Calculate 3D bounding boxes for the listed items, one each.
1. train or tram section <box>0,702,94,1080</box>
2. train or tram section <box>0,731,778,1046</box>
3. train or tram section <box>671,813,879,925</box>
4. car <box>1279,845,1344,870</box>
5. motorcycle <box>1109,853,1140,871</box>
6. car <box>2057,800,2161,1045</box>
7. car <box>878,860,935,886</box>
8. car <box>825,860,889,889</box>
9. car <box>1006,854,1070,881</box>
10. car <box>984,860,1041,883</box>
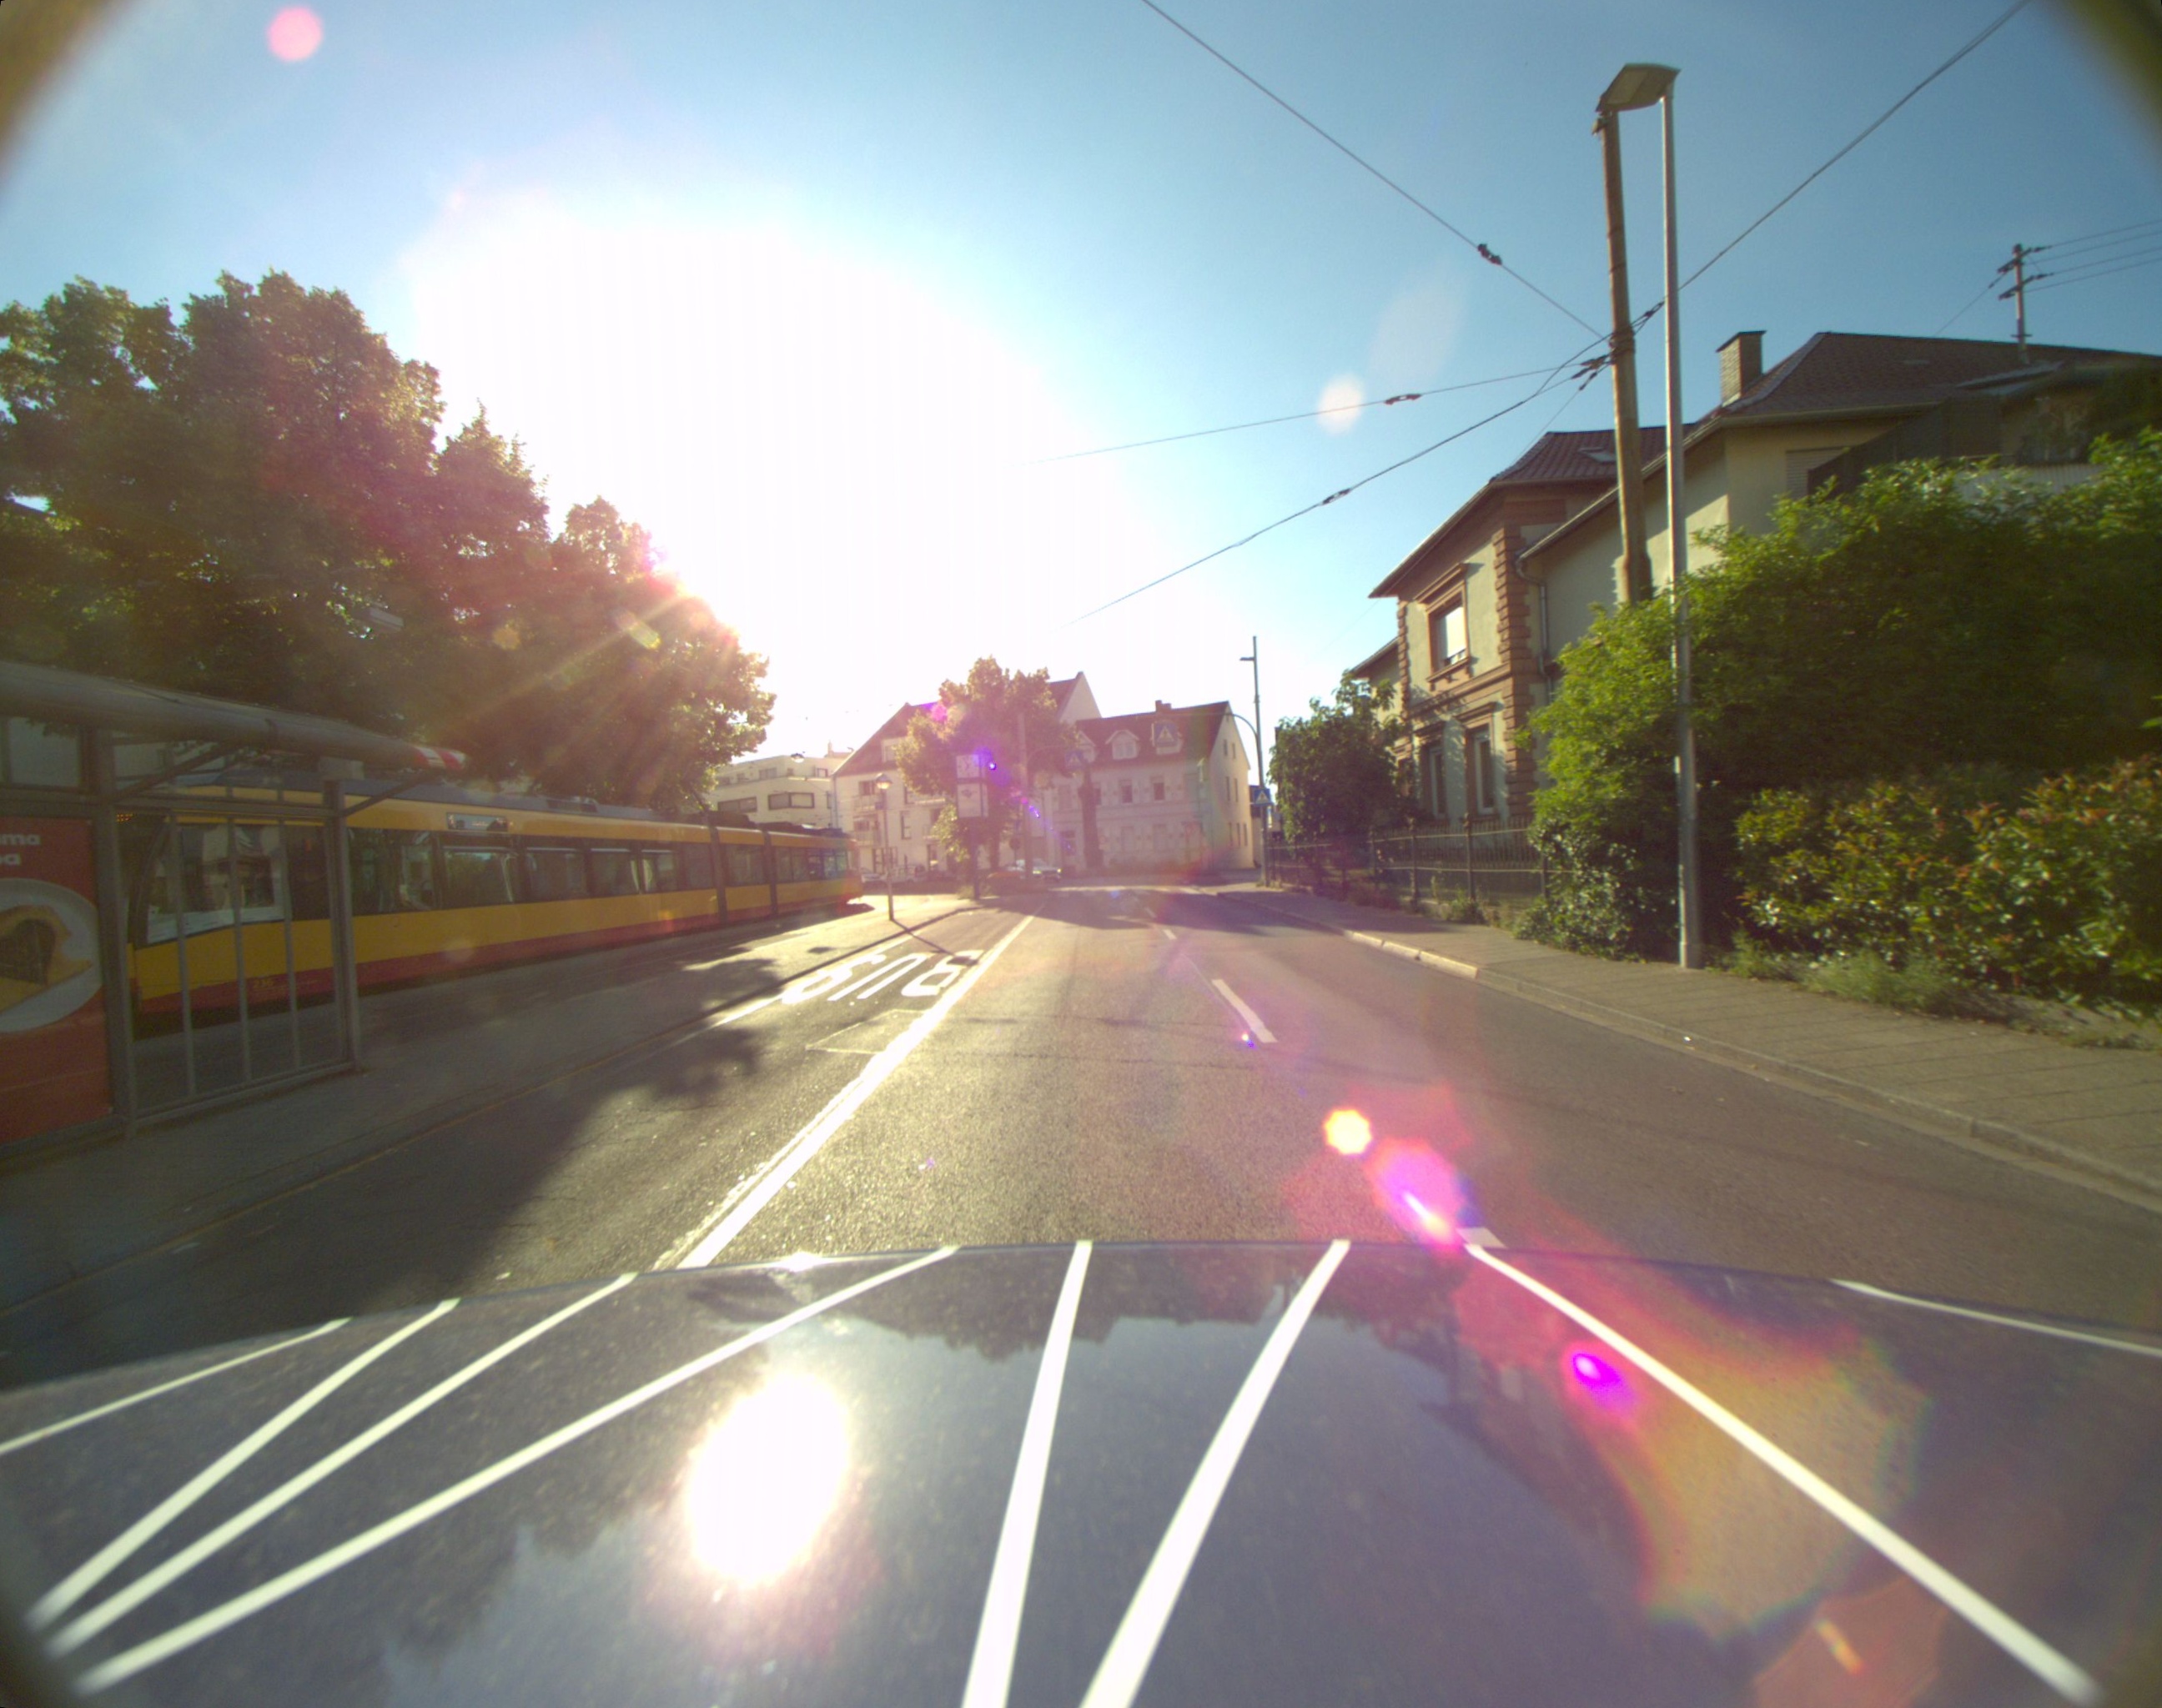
[{"bbox_3d":[-11.655,0.483,0.931,2.964,3.514,13.462,-2,1,1],"label":"train or tram section"},{"bbox_3d":[-11.275,0.435,16.377,2.965,3.401,15.940,-2,0,0],"label":"train or tram section"},{"bbox_3d":[-11.347,0.511,30.502,2.965,3.401,13.463,-2,0,-1],"label":"train or tram section"},{"bbox_3d":[15.532,0.229,51.305,3.878,1.445,1.702,-3,0,4],"label":"car"},{"bbox_3d":[3.168,0.592,55.391,2.104,1.220,0.625,-3,1,28],"label":"motorcycle"},{"bbox_3d":[8.746,0.560,4.286,1.705,1.804,3.672,4,1,3],"label":"car"},{"bbox_3d":[-14.772,1.615,64.297,4.263,1.945,2.003,-2,0,20],"label":"car"},{"bbox_3d":[-17.819,1.657,60.369,4.781,1.921,1.875,-5,0,28],"label":"car"},{"bbox_3d":[-2.595,0.833,44.873,2.003,1.453,4.440,-3,0,-28],"label":"car"},{"bbox_3d":[-5.345,1.402,59.289,4.196,1.453,1.610,-5,0,32],"label":"car"}]
